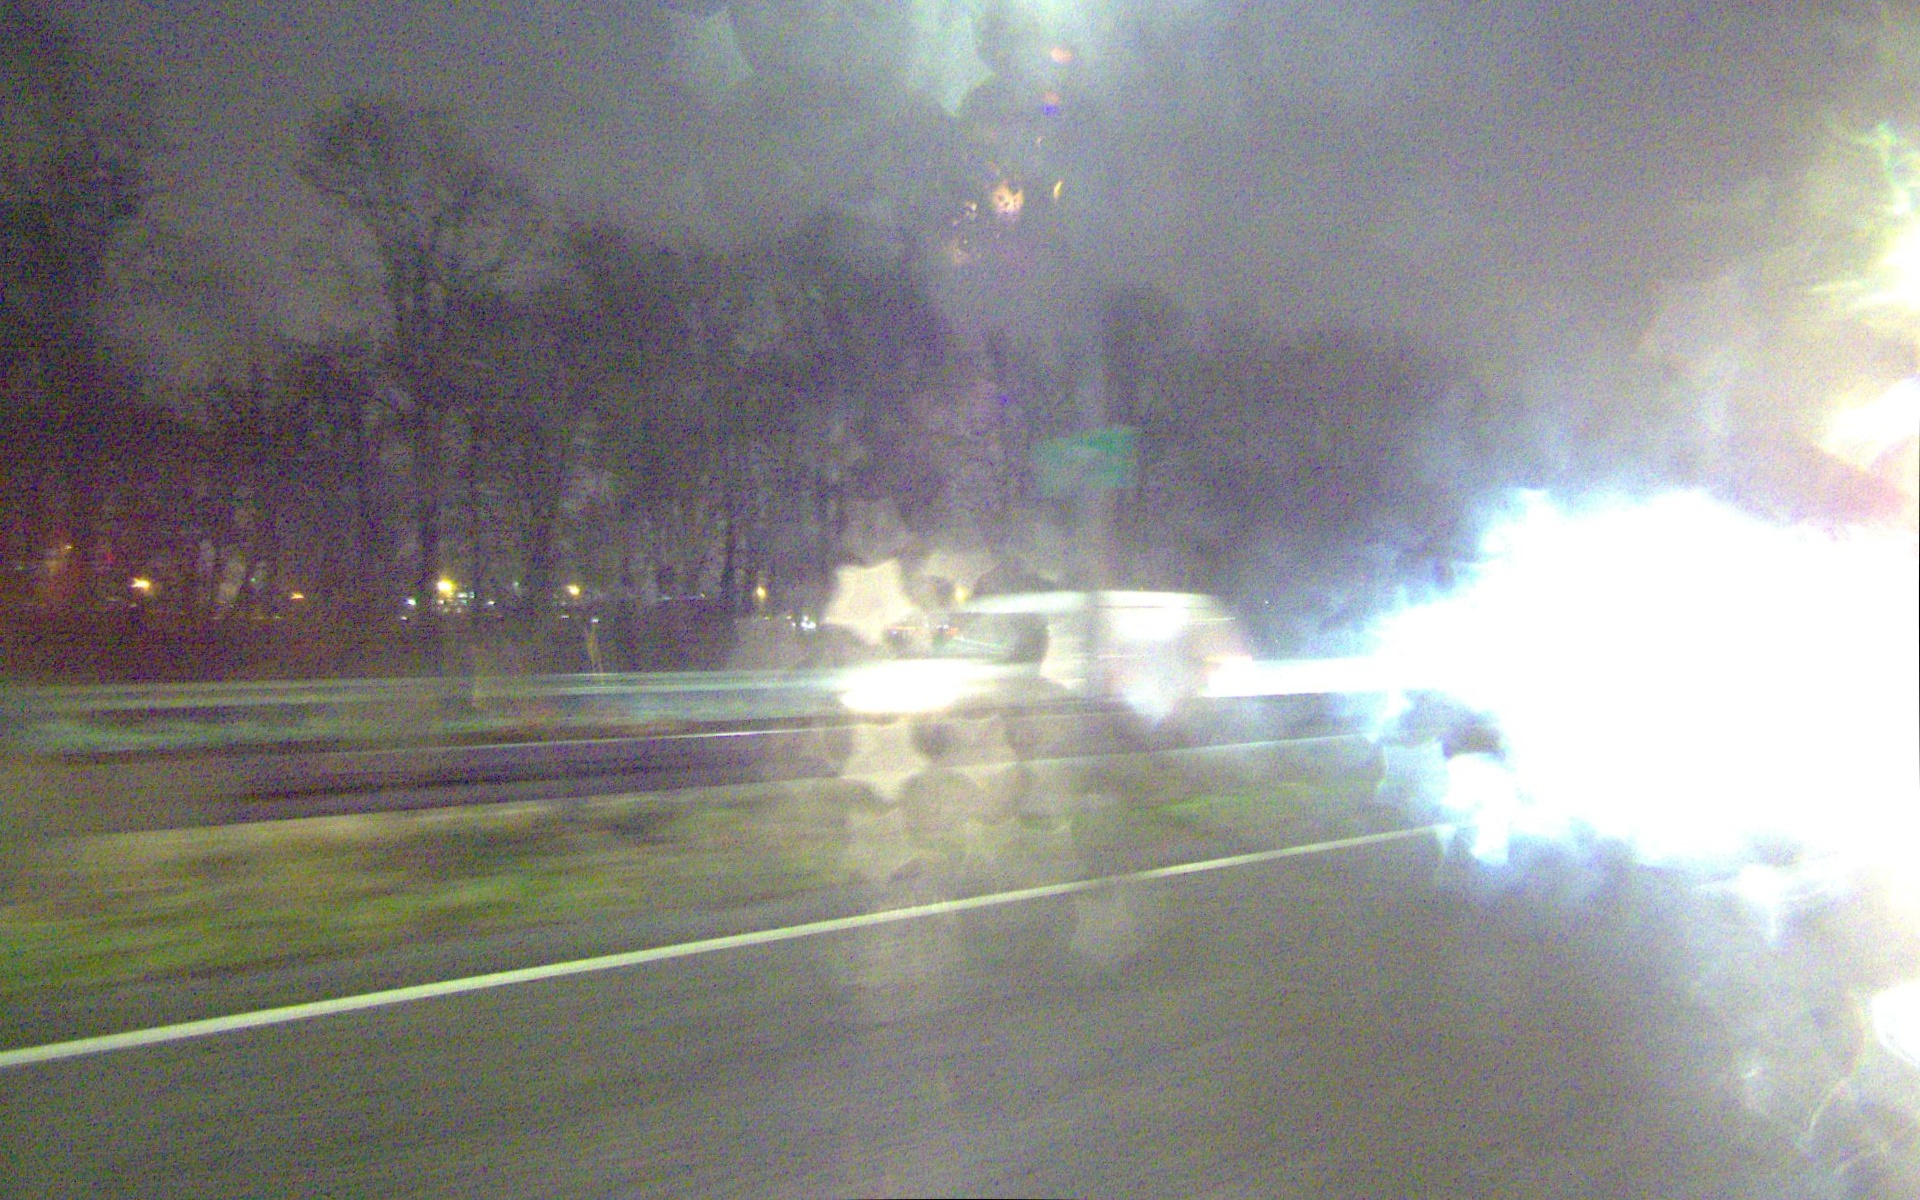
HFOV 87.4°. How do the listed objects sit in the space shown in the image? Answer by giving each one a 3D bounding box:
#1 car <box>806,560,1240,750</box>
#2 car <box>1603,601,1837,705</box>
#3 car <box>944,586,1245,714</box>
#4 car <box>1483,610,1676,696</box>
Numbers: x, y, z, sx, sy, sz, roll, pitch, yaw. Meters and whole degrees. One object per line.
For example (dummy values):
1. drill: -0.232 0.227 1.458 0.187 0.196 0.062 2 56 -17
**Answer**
1. car: 0.804 0.578 11.550 4.652 1.798 1.983 2 0 -32
2. car: 15.272 1.040 20.148 4.652 1.798 2.153 2 0 -31
3. car: 2.260 0.792 16.502 4.652 1.798 1.983 2 0 -32
4. car: 14.788 1.243 23.916 4.652 1.798 1.983 2 0 -32
